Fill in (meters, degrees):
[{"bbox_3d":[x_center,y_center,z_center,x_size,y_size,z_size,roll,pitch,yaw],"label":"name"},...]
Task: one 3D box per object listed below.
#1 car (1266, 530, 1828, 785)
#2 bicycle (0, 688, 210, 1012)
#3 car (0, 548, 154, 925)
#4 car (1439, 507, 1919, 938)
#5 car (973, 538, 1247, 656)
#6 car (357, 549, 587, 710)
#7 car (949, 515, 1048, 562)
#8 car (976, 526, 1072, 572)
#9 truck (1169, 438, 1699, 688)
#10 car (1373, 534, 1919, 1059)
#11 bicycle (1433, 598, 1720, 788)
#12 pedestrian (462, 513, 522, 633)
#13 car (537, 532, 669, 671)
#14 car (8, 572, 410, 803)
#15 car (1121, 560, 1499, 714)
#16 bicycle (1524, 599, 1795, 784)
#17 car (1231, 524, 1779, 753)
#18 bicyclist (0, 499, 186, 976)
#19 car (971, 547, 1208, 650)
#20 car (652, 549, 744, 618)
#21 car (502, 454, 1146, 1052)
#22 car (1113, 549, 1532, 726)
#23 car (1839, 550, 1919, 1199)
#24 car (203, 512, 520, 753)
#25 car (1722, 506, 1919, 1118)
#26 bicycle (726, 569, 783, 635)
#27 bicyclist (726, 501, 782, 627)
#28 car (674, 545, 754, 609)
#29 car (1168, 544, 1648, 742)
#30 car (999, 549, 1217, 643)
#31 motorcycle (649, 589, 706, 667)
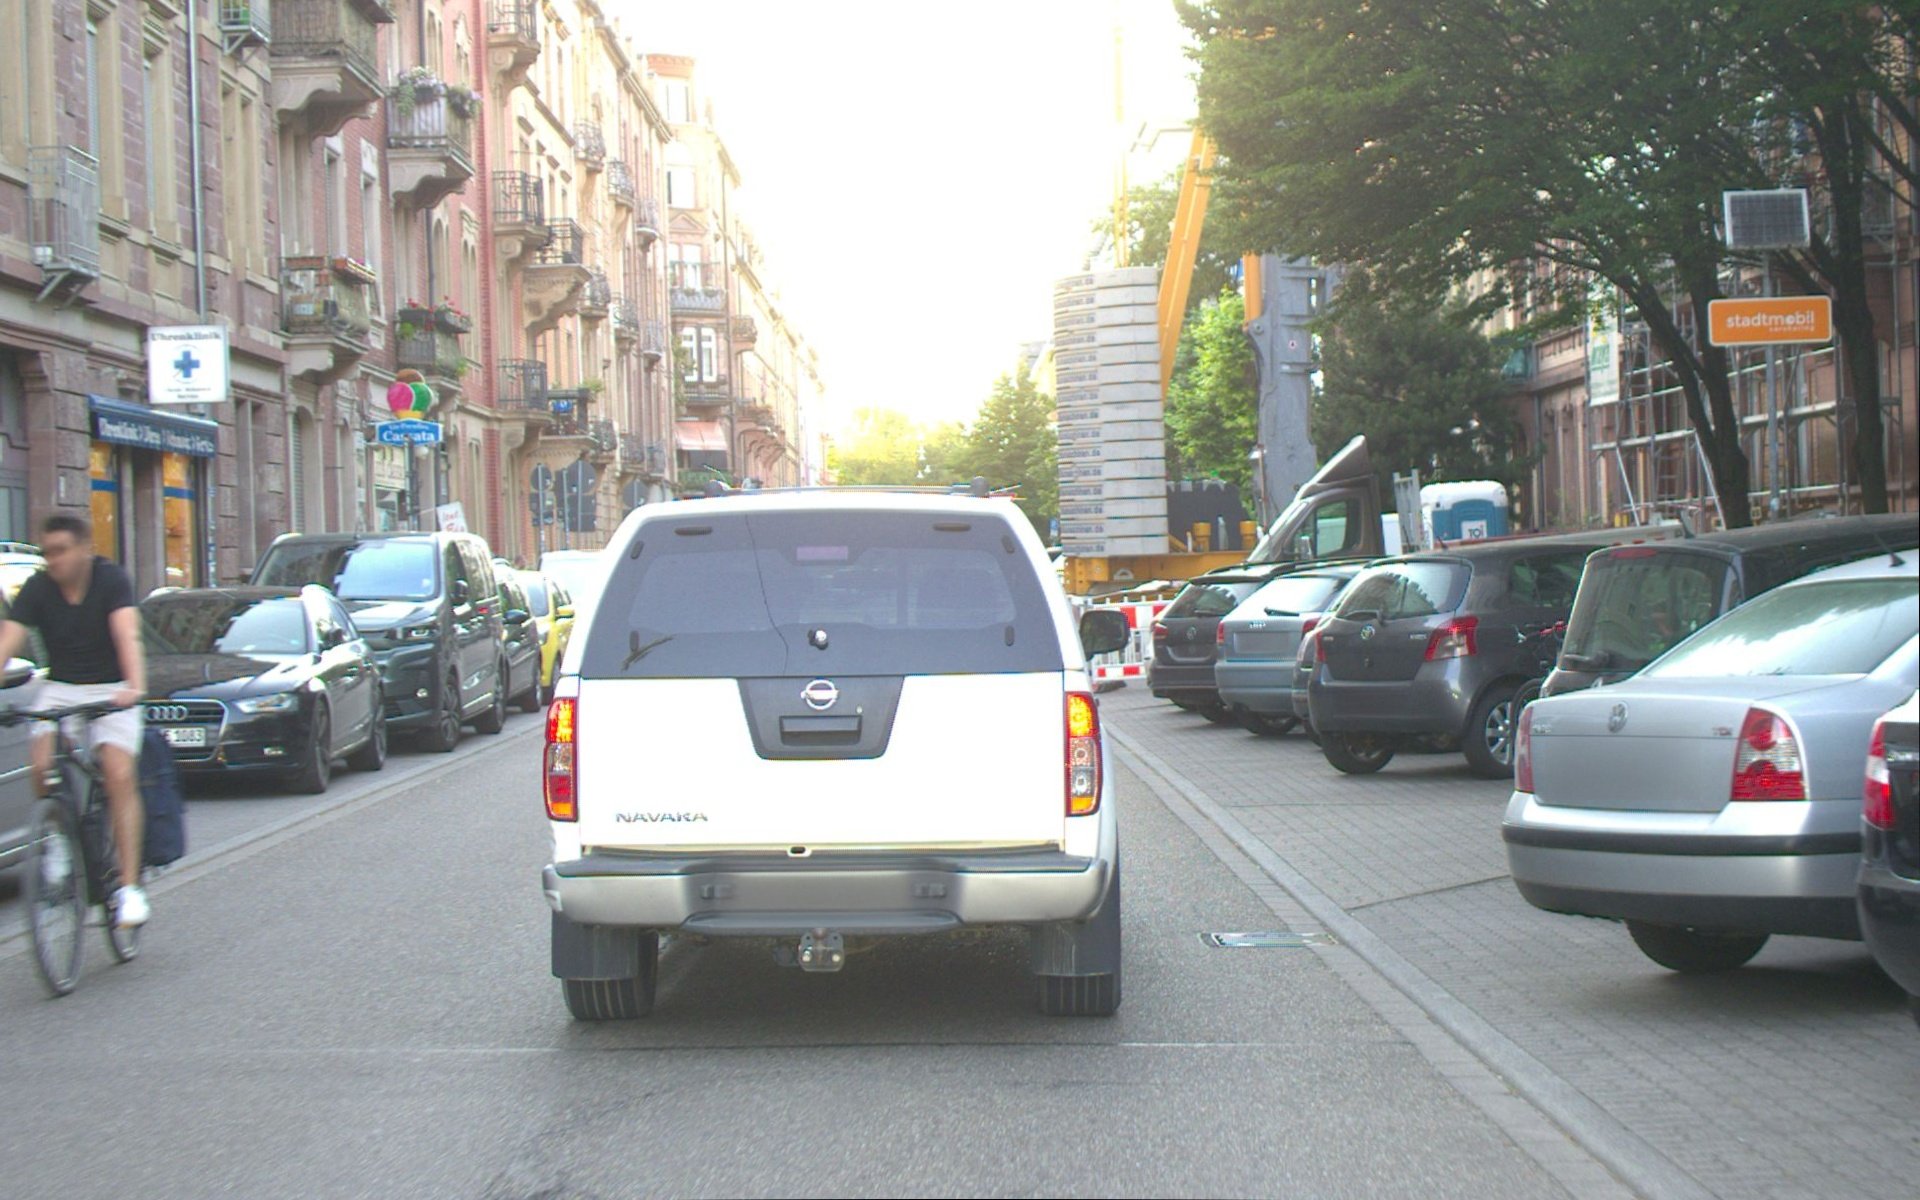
[{"bbox_3d":[4.015,0.340,23.433,3.396,1.469,1.775,-4,2,-31],"label":"car"},{"bbox_3d":[-3.309,0.889,12.791,0.614,1.036,1.904,-2,1,-1],"label":"bicycle"},{"bbox_3d":[-5.067,0.591,15.285,1.993,1.586,4.314,-2,1,-1],"label":"car"},{"bbox_3d":[4.298,0.410,14.875,3.986,1.631,1.759,-3,1,-20],"label":"car"},{"bbox_3d":[2.388,-0.053,54.090,4.196,1.774,1.819,-1,1,5],"label":"car"},{"bbox_3d":[-5.413,0.288,38.607,1.905,1.657,4.068,-2,1,1],"label":"car"},{"bbox_3d":[1.826,-2.901,162.176,4.588,2.170,1.819,-1,1,2],"label":"car"},{"bbox_3d":[3.114,-2.472,165.930,4.588,2.170,1.819,-1,1,2],"label":"car"},{"bbox_3d":[5.848,-0.425,43.111,6.320,2.966,2.264,-1,-2,1],"label":"truck"},{"bbox_3d":[3.723,0.522,12.092,4.373,1.529,1.807,-2,1,-35],"label":"car"},{"bbox_3d":[3.774,0.568,21.211,0.692,1.104,1.858,-1,-1,-29],"label":"bicycle"},{"bbox_3d":[-7.307,-0.418,53.676,0.617,1.863,0.739,0,1,22],"label":"pedestrian"},{"bbox_3d":[-5.114,0.006,49.637,1.559,1.914,3.856,1,1,-1],"label":"car"},{"bbox_3d":[-5.207,0.548,24.452,1.911,1.467,4.534,0,1,-1],"label":"car"},{"bbox_3d":[3.570,0.341,34.944,3.548,1.459,1.611,-1,1,-31],"label":"car"},{"bbox_3d":[4.355,0.569,21.536,0.557,1.104,1.858,-1,-1,-29],"label":"bicycle"},{"bbox_3d":[4.238,0.273,26.716,3.824,1.525,1.763,-3,1,-26],"label":"car"},{"bbox_3d":[-3.315,0.483,12.724,0.603,1.679,1.142,-2,0,0],"label":"bicyclist"},{"bbox_3d":[2.238,-0.043,60.326,3.987,1.641,2.000,-2,1,-1],"label":"car"},{"bbox_3d":[-5.952,-0.387,78.580,1.791,1.525,4.000,-1,1,0],"label":"car"},{"bbox_3d":[-0.335,0.457,12.620,1.933,1.788,4.621,0,0,2],"label":"car"},{"bbox_3d":[3.418,0.309,32.088,3.882,1.525,1.637,-1,1,-40],"label":"car"},{"bbox_3d":[3.739,0.584,6.845,3.593,1.477,1.723,-2,1,-28],"label":"car"},{"bbox_3d":[-5.137,0.233,30.173,1.905,1.919,4.947,-1,1,0],"label":"car"},{"bbox_3d":[4.006,0.472,9.343,3.593,1.529,1.563,-2,1,-28],"label":"car"},{"bbox_3d":[-3.038,0.025,50.914,0.800,0.944,2.005,-1,1,-3],"label":"bicycle"},{"bbox_3d":[-3.046,-0.529,50.946,0.800,1.843,0.944,-1,0,-3],"label":"bicyclist"},{"bbox_3d":[-6.061,-0.585,85.010,1.710,1.525,4.000,-1,1,-1],"label":"car"},{"bbox_3d":[3.846,0.329,29.308,3.825,1.432,1.762,-3,2,-35],"label":"car"},{"bbox_3d":[2.901,-0.092,67.540,4.195,1.774,1.819,-1,1,2],"label":"car"},{"bbox_3d":[-5.321,0.521,64.891,0.837,1.411,2.549,-1,1,1],"label":"motorcycle"}]
